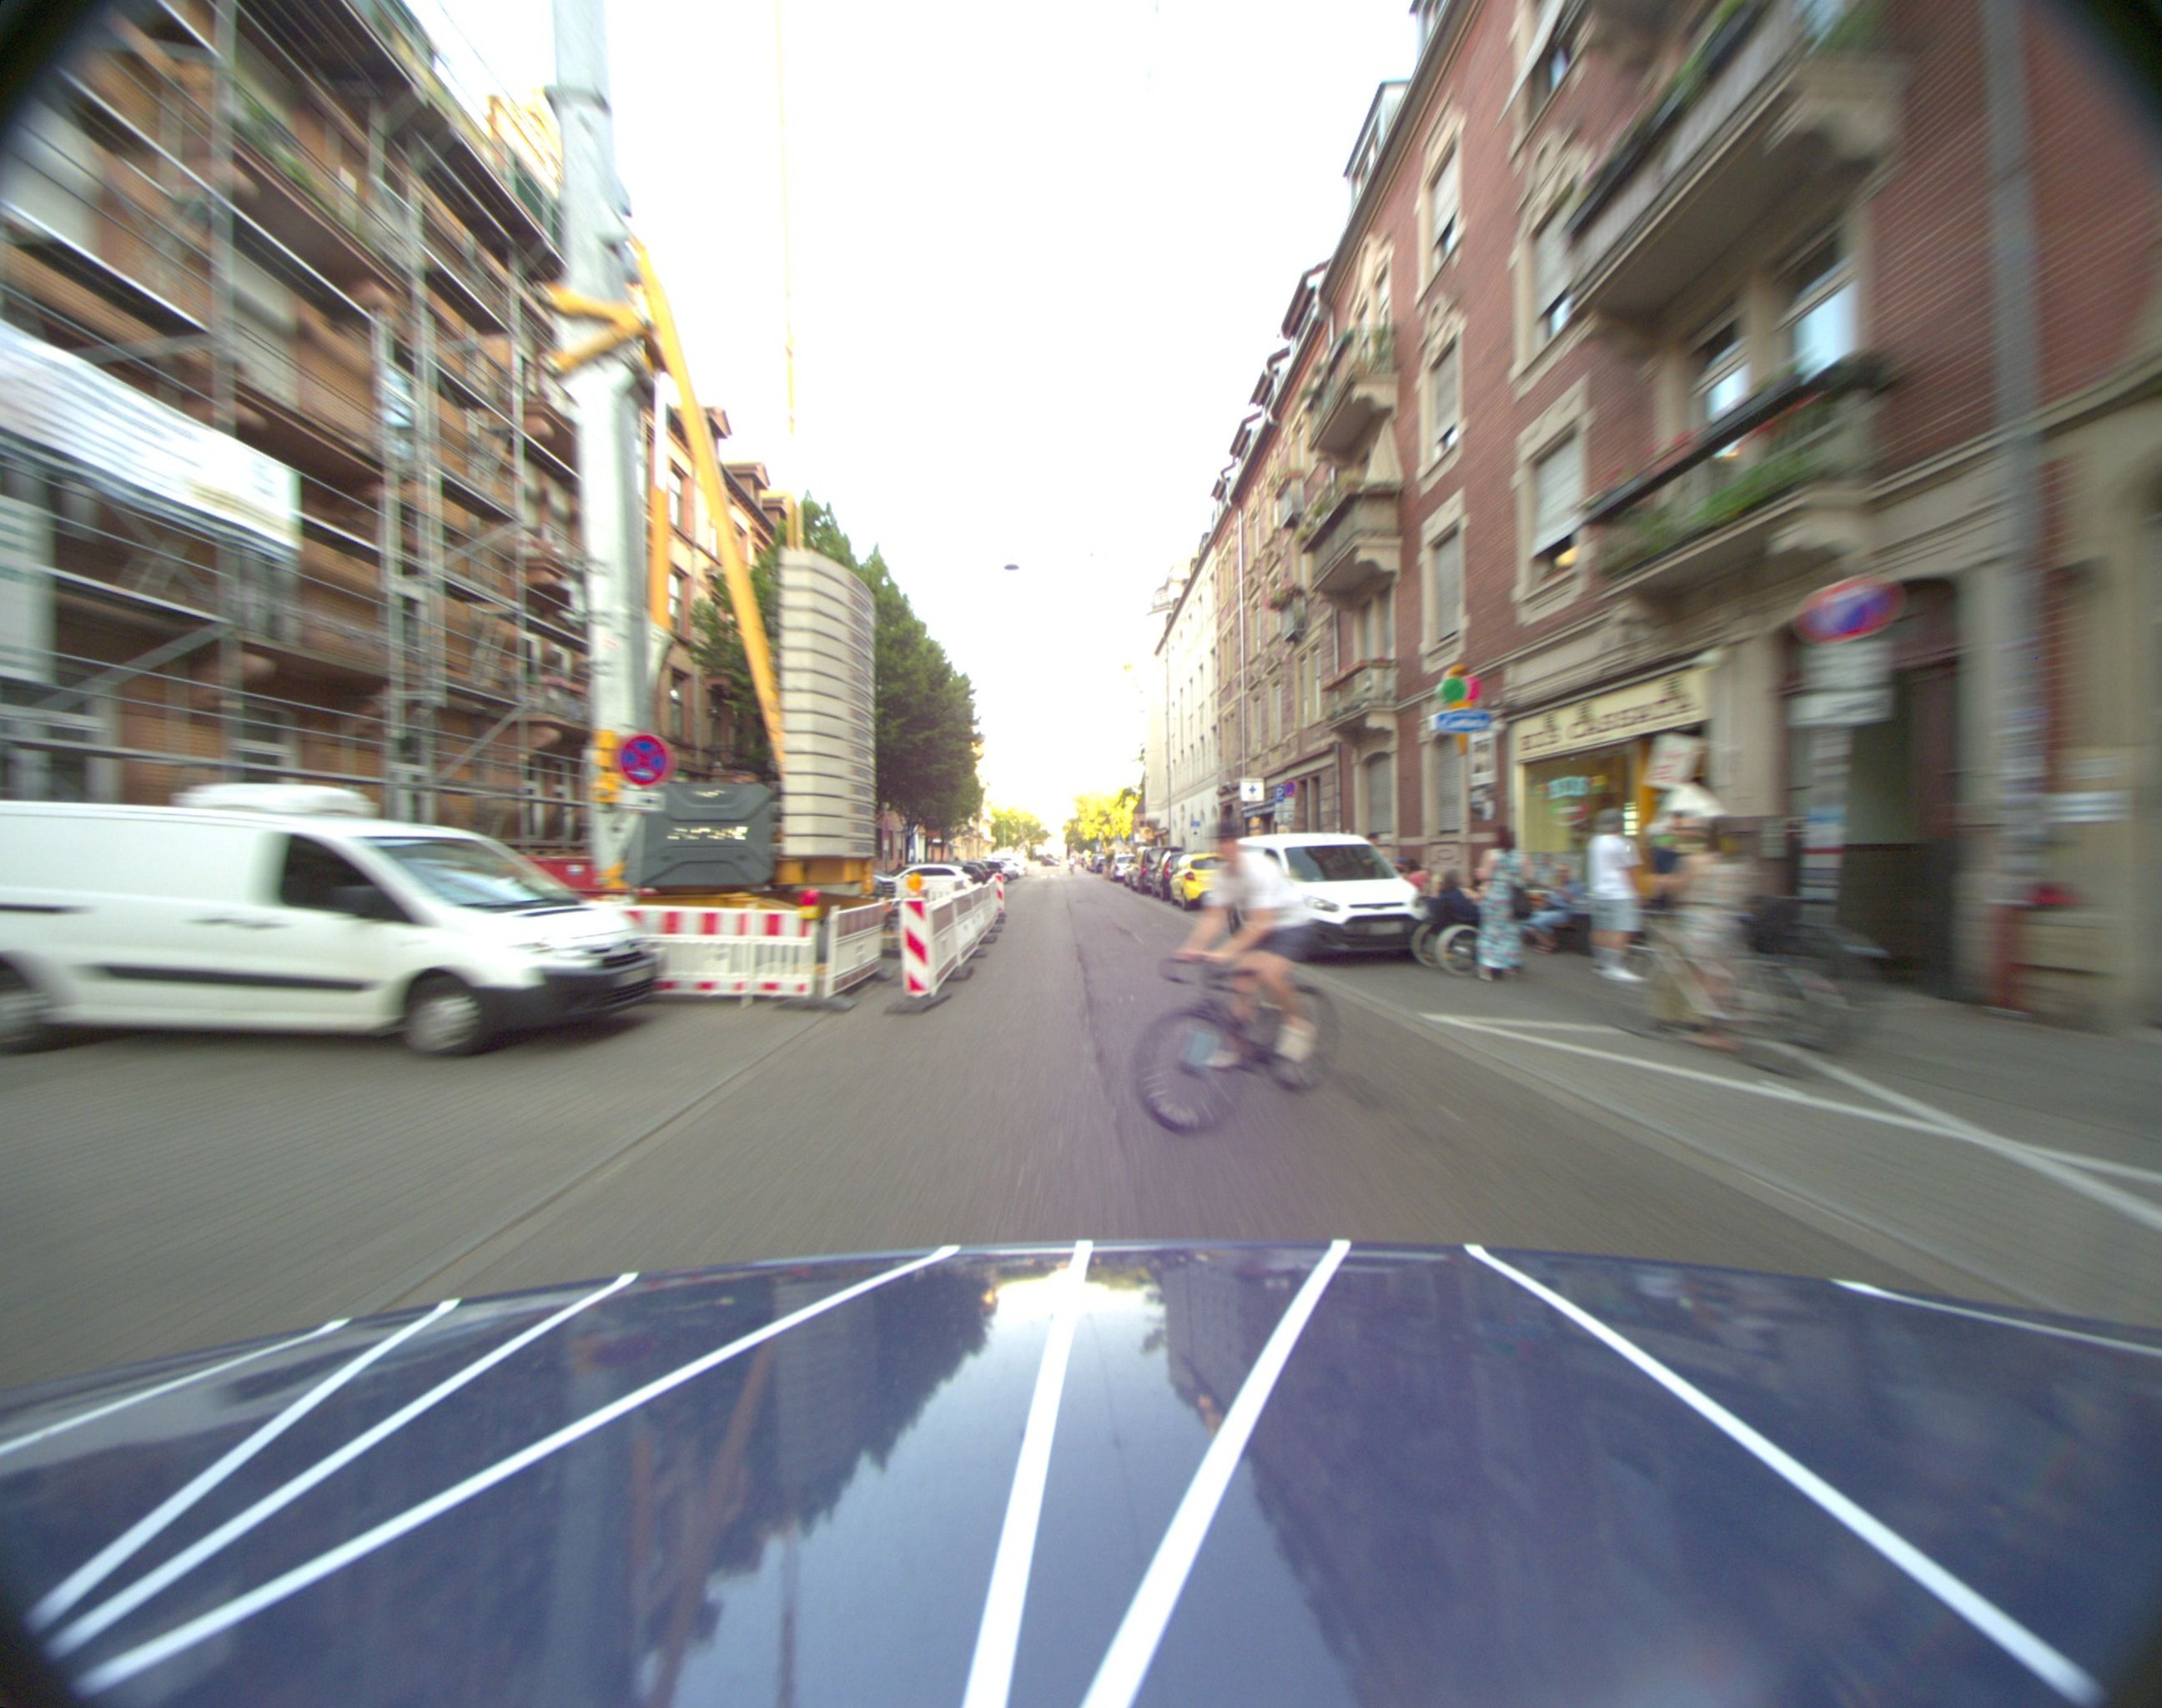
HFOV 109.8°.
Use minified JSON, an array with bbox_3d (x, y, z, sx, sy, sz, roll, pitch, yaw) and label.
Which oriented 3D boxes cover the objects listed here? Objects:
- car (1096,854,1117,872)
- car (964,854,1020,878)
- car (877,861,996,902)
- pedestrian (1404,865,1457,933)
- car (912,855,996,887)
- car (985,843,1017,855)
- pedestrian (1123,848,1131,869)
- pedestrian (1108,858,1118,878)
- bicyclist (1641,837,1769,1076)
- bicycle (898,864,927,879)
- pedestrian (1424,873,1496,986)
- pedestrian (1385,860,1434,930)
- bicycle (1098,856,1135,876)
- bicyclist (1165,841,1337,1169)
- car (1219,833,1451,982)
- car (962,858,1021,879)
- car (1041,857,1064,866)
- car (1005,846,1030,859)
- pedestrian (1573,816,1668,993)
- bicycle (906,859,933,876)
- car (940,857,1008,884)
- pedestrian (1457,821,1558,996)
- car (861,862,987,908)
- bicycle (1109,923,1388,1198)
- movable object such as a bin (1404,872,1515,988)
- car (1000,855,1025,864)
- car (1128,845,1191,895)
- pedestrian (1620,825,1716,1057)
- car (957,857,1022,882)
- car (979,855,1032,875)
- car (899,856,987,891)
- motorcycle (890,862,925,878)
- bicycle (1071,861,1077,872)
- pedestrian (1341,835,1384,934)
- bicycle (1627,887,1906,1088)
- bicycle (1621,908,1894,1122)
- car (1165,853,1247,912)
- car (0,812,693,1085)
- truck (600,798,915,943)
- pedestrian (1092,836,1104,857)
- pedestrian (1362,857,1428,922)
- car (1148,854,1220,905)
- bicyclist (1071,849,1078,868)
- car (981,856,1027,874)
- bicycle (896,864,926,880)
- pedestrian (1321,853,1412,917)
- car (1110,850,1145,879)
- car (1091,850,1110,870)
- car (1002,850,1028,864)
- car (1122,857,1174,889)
[{"bbox_3d":[2.396,0.816,72.144,1.786,1.537,3.999,-2,1,0],"label":"car"},{"bbox_3d":[-6.761,0.915,57.656,3.841,1.639,1.674,1,1,-29],"label":"car"},{"bbox_3d":[-5.614,1.037,29.727,4.179,1.479,1.826,1,0,-38],"label":"car"},{"bbox_3d":[6.137,0.771,13.369,0.633,1.133,0.573,-2,1,-3],"label":"pedestrian"},{"bbox_3d":[-6.334,0.859,38.131,3.807,1.508,1.646,1,0,-34],"label":"car"},{"bbox_3d":[-10.771,-0.725,102.045,3.841,1.510,1.673,1,1,-30],"label":"car"},{"bbox_3d":[3.859,0.388,63.804,0.566,1.723,0.562,-2,1,-3],"label":"pedestrian"},{"bbox_3d":[2.158,0.951,51.066,0.571,1.315,0.496,-2,1,-3],"label":"pedestrian"},{"bbox_3d":[4.322,0.682,5.289,0.467,1.581,0.487,-2,1,2],"label":"bicyclist"},{"bbox_3d":[-10.846,1.127,48.869,1.770,0.920,0.546,3,0,-8],"label":"bicycle"},{"bbox_3d":[4.451,0.865,8.951,0.479,1.244,0.652,-2,1,-1],"label":"pedestrian"},{"bbox_3d":[6.171,0.758,14.288,0.620,1.244,0.585,-2,1,-3],"label":"pedestrian"},{"bbox_3d":[2.657,0.893,56.652,2.619,1.390,0.602,-2,1,11],"label":"bicycle"},{"bbox_3d":[0.991,0.791,4.407,0.791,1.694,0.527,-3,2,-37],"label":"bicyclist"},{"bbox_3d":[3.559,0.632,11.669,1.775,1.778,4.585,-2,1,-3],"label":"car"},{"bbox_3d":[-6.452,1.031,54.943,3.841,1.422,1.673,1,1,-31],"label":"car"},{"bbox_3d":[-5.394,1.394,144.694,4.076,1.688,1.679,2,1,9],"label":"car"},{"bbox_3d":[-11.414,-0.310,136.716,4.202,2.246,1.673,1,1,-37],"label":"car"},{"bbox_3d":[5.775,0.517,8.169,0.598,1.803,0.721,-2,1,17],"label":"pedestrian"},{"bbox_3d":[-11.281,0.968,53.162,1.770,1.094,0.546,3,0,-9],"label":"bicycle"},{"bbox_3d":[-6.644,1.012,47.049,3.839,1.556,1.674,1,1,-23],"label":"car"},{"bbox_3d":[4.617,0.562,8.263,0.600,1.803,0.720,-3,1,-10],"label":"pedestrian"},{"bbox_3d":[-5.494,1.052,26.744,4.003,1.479,1.680,1,0,-35],"label":"car"},{"bbox_3d":[1.042,1.077,4.446,1.786,1.148,0.519,-3,1,-37],"label":"bicycle"},{"bbox_3d":[4.421,0.866,8.929,0.890,1.244,0.776,-2,1,-1],"label":"movable object such as a bin"},{"bbox_3d":[-11.301,0.912,125.160,3.842,1.510,1.673,1,1,-37],"label":"car"},{"bbox_3d":[3.176,0.618,31.725,1.932,1.872,4.904,-1,0,-2],"label":"car"},{"bbox_3d":[4.452,0.640,5.773,0.419,1.699,0.350,-2,1,-7],"label":"pedestrian"},{"bbox_3d":[-5.977,0.999,49.766,3.841,1.556,1.673,1,1,-31],"label":"car"},{"bbox_3d":[-6.007,0.890,60.833,3.842,1.510,1.673,1,1,-34],"label":"car"},{"bbox_3d":[-6.359,0.892,35.072,3.638,1.508,1.621,1,0,-29],"label":"car"},{"bbox_3d":[-10.819,1.008,47.376,1.984,0.920,0.591,2,0,12],"label":"motorcycle"},{"bbox_3d":[-0.629,1.189,71.433,0.477,0.938,1.895,-2,1,-2],"label":"bicycle"},{"bbox_3d":[5.073,0.534,13.677,0.619,1.720,0.586,-2,1,27],"label":"pedestrian"},{"bbox_3d":[5.043,0.888,5.794,0.466,1.148,2.001,-2,1,5],"label":"bicycle"},{"bbox_3d":[4.329,0.957,5.017,0.467,1.062,1.520,-2,1,2],"label":"bicycle"},{"bbox_3d":[3.494,0.750,21.819,1.709,1.521,3.792,-1,0,0],"label":"car"},{"bbox_3d":[-6.450,0.714,6.523,5.187,1.944,1.899,1,-1,-2],"label":"car"},{"bbox_3d":[-7.670,0.367,18.595,6.496,3.059,2.524,-2,1,2],"label":"truck"},{"bbox_3d":[2.283,-0.996,102.491,1.445,2.725,1.011,-2,1,-3],"label":"pedestrian"},{"bbox_3d":[6.125,0.678,14.854,1.041,1.196,0.503,-2,1,-3],"label":"pedestrian"},{"bbox_3d":[3.495,0.834,26.476,1.932,1.587,3.969,-1,0,0],"label":"car"},{"bbox_3d":[-0.619,0.402,71.299,0.624,1.682,1.003,-2,1,-3],"label":"bicyclist"},{"bbox_3d":[-6.991,0.976,68.620,3.838,1.510,1.675,1,1,-17],"label":"car"},{"bbox_3d":[-10.772,1.131,48.282,1.770,0.920,0.546,3,0,-8],"label":"bicycle"},{"bbox_3d":[5.781,0.613,15.421,1.566,1.196,0.641,-2,1,-3],"label":"pedestrian"},{"bbox_3d":[2.796,0.608,46.210,1.730,1.638,3.916,-2,0,-1],"label":"car"},{"bbox_3d":[1.957,0.613,77.110,1.786,1.860,4.457,-2,1,0],"label":"car"},{"bbox_3d":[-11.139,0.486,128.288,4.202,2.279,1.673,1,1,-41],"label":"car"},{"bbox_3d":[3.186,0.867,37.126,1.932,1.422,4.480,-1,0,-2],"label":"car"}]
